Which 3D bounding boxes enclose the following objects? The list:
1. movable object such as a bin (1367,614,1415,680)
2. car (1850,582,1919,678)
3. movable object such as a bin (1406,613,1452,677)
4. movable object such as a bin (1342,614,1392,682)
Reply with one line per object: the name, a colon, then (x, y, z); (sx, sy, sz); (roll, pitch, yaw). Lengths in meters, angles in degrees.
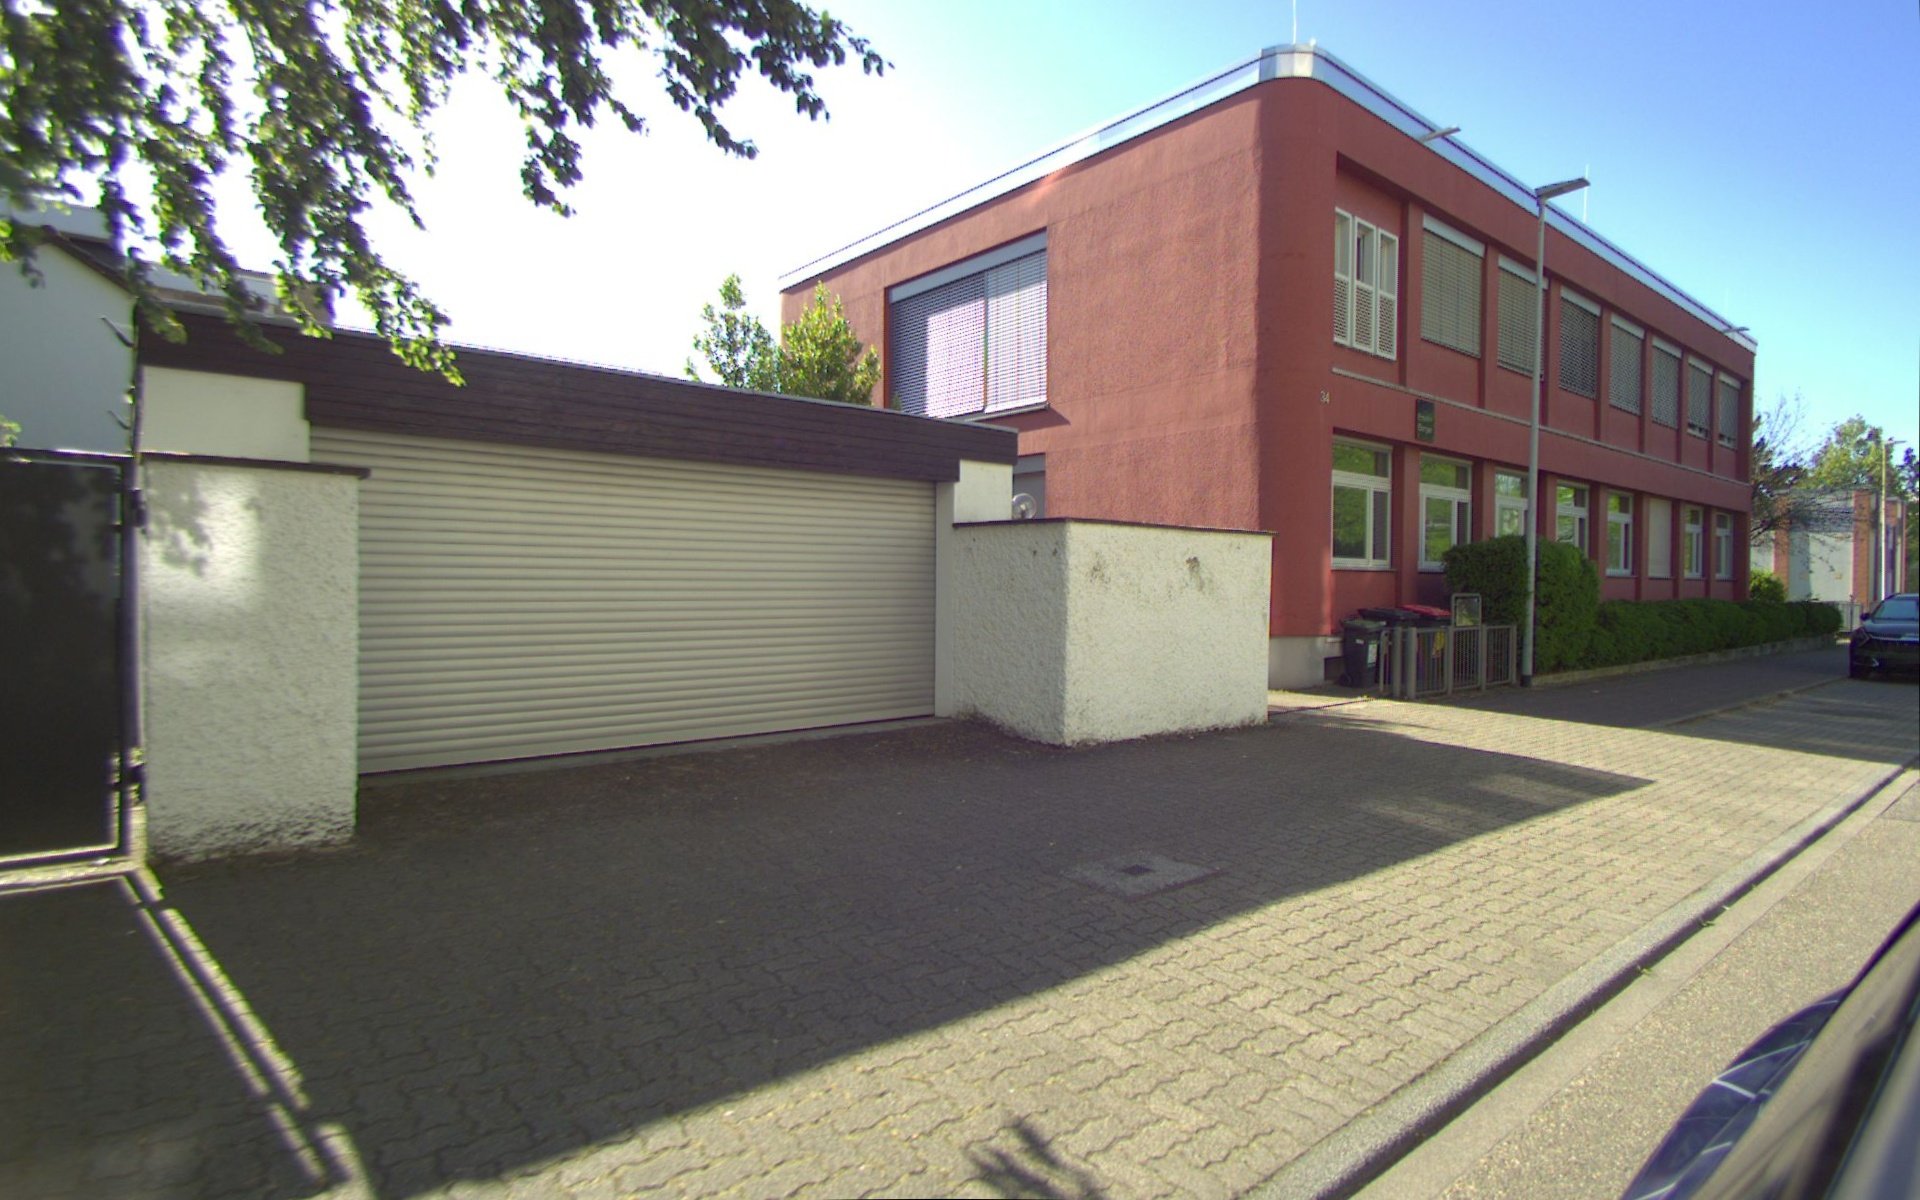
movable object such as a bin: (6.210, 0.661, 14.571); (0.466, 0.912, 0.478); (0, 0, -38)
car: (18.454, 0.535, 19.022); (4.294, 1.650, 1.903); (0, 2, -40)
movable object such as a bin: (7.008, 0.660, 15.119); (0.466, 0.912, 0.478); (0, 0, -38)
movable object such as a bin: (5.681, 0.662, 14.134); (0.466, 0.912, 0.478); (0, 0, -38)
